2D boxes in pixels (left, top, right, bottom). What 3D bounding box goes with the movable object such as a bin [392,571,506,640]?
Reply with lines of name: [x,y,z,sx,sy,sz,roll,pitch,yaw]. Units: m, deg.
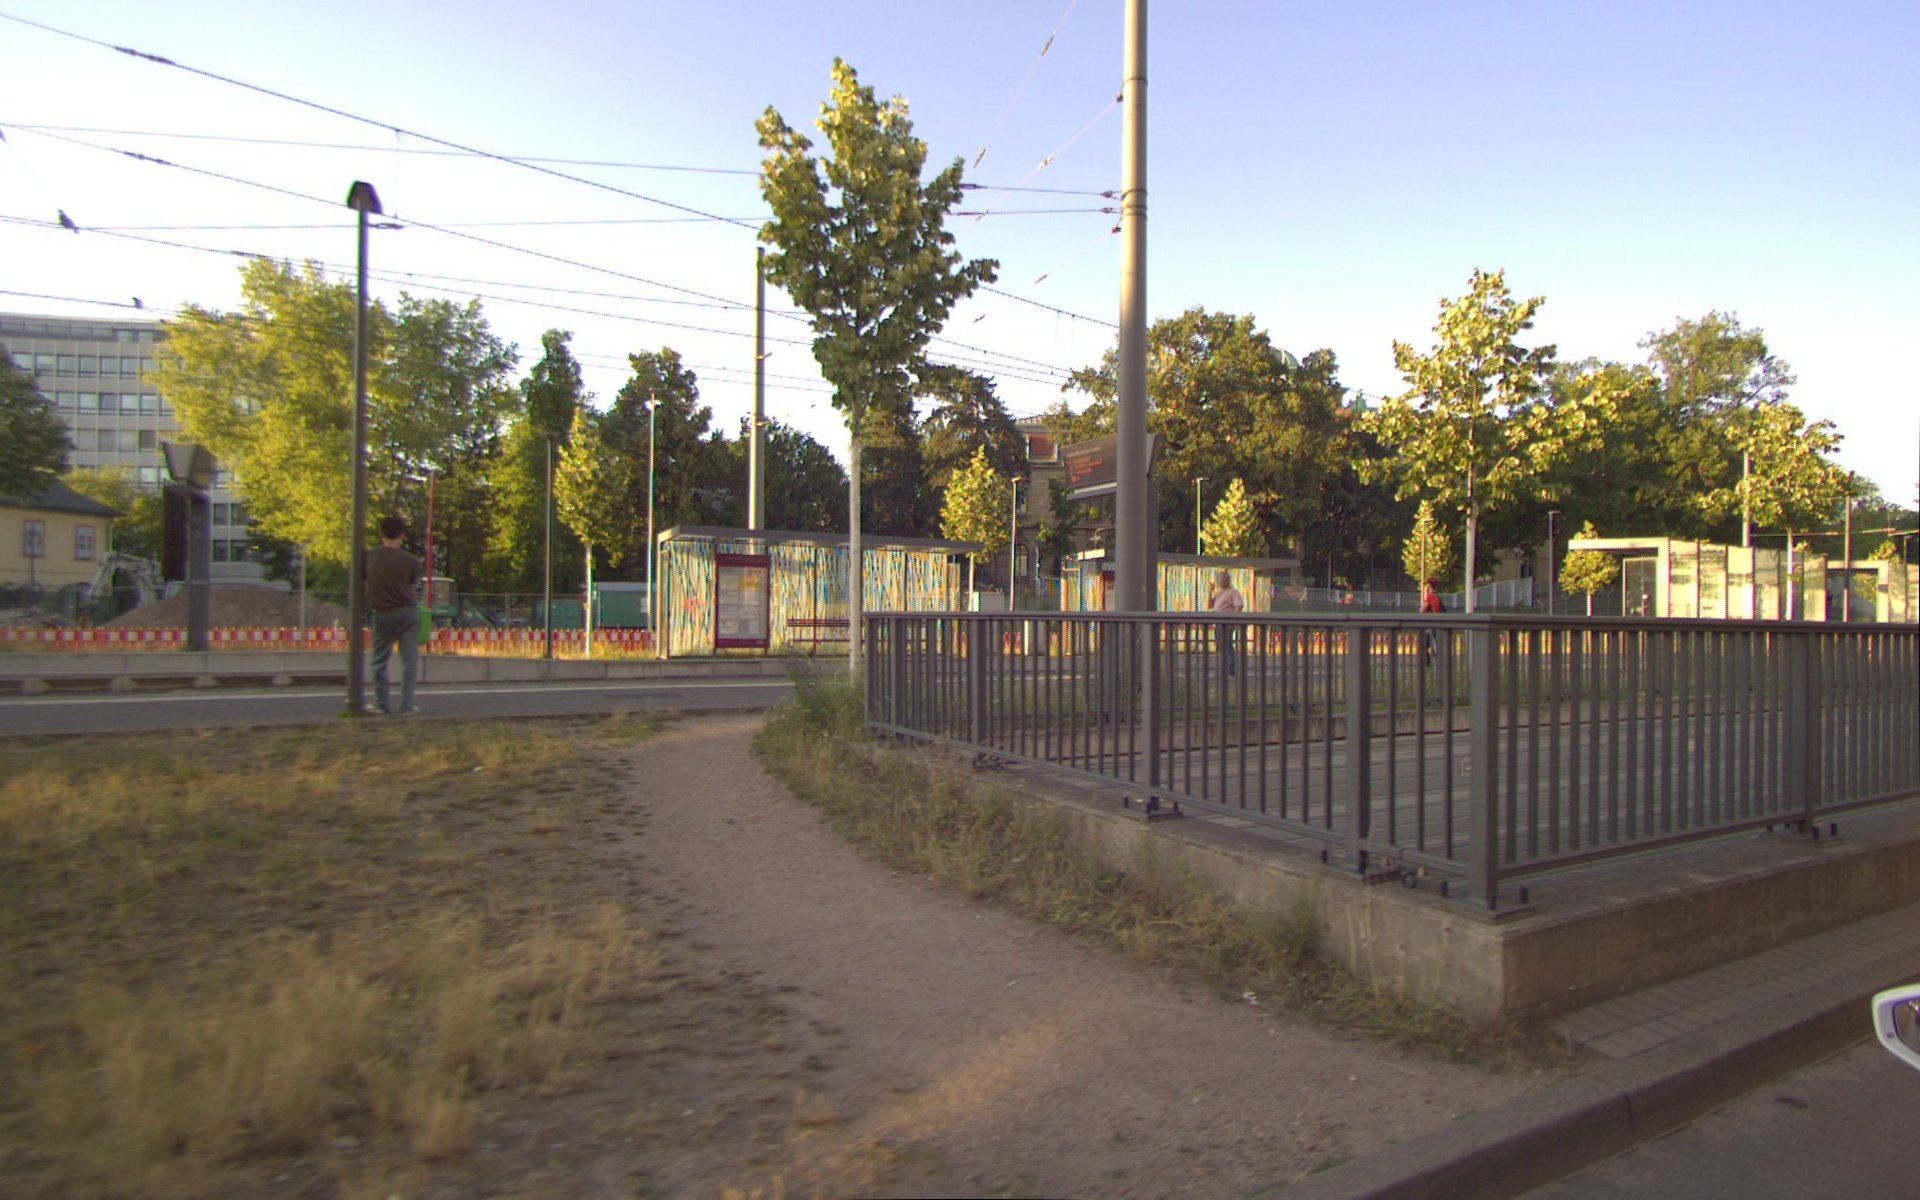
movable object such as a bin: [-21.454,0.252,42.347,3.935,2.742,1.993,1,-1,-17]

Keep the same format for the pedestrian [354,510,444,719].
pedestrian: [-5.015,0.133,9.008,0.617,1.810,0.470,1,-1,-22]

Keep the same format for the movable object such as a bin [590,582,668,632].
movable object such as a bin: [-19.109,0.426,58.005,3.949,2.742,1.986,1,-1,-28]

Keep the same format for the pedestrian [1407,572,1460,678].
pedestrian: [8.027,0.425,17.036,0.631,1.752,0.628,1,-1,-42]

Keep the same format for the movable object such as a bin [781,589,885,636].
movable object such as a bin: [-6.488,0.663,51.270,4.876,2.276,1.986,1,-1,-28]

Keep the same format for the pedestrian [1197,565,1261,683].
pedestrian: [4.139,0.361,15.477,0.630,1.768,0.719,0,0,-37]

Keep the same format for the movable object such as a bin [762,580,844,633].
movable object such as a bin: [-8.528,0.388,54.614,3.949,2.742,1.986,1,-1,-28]
